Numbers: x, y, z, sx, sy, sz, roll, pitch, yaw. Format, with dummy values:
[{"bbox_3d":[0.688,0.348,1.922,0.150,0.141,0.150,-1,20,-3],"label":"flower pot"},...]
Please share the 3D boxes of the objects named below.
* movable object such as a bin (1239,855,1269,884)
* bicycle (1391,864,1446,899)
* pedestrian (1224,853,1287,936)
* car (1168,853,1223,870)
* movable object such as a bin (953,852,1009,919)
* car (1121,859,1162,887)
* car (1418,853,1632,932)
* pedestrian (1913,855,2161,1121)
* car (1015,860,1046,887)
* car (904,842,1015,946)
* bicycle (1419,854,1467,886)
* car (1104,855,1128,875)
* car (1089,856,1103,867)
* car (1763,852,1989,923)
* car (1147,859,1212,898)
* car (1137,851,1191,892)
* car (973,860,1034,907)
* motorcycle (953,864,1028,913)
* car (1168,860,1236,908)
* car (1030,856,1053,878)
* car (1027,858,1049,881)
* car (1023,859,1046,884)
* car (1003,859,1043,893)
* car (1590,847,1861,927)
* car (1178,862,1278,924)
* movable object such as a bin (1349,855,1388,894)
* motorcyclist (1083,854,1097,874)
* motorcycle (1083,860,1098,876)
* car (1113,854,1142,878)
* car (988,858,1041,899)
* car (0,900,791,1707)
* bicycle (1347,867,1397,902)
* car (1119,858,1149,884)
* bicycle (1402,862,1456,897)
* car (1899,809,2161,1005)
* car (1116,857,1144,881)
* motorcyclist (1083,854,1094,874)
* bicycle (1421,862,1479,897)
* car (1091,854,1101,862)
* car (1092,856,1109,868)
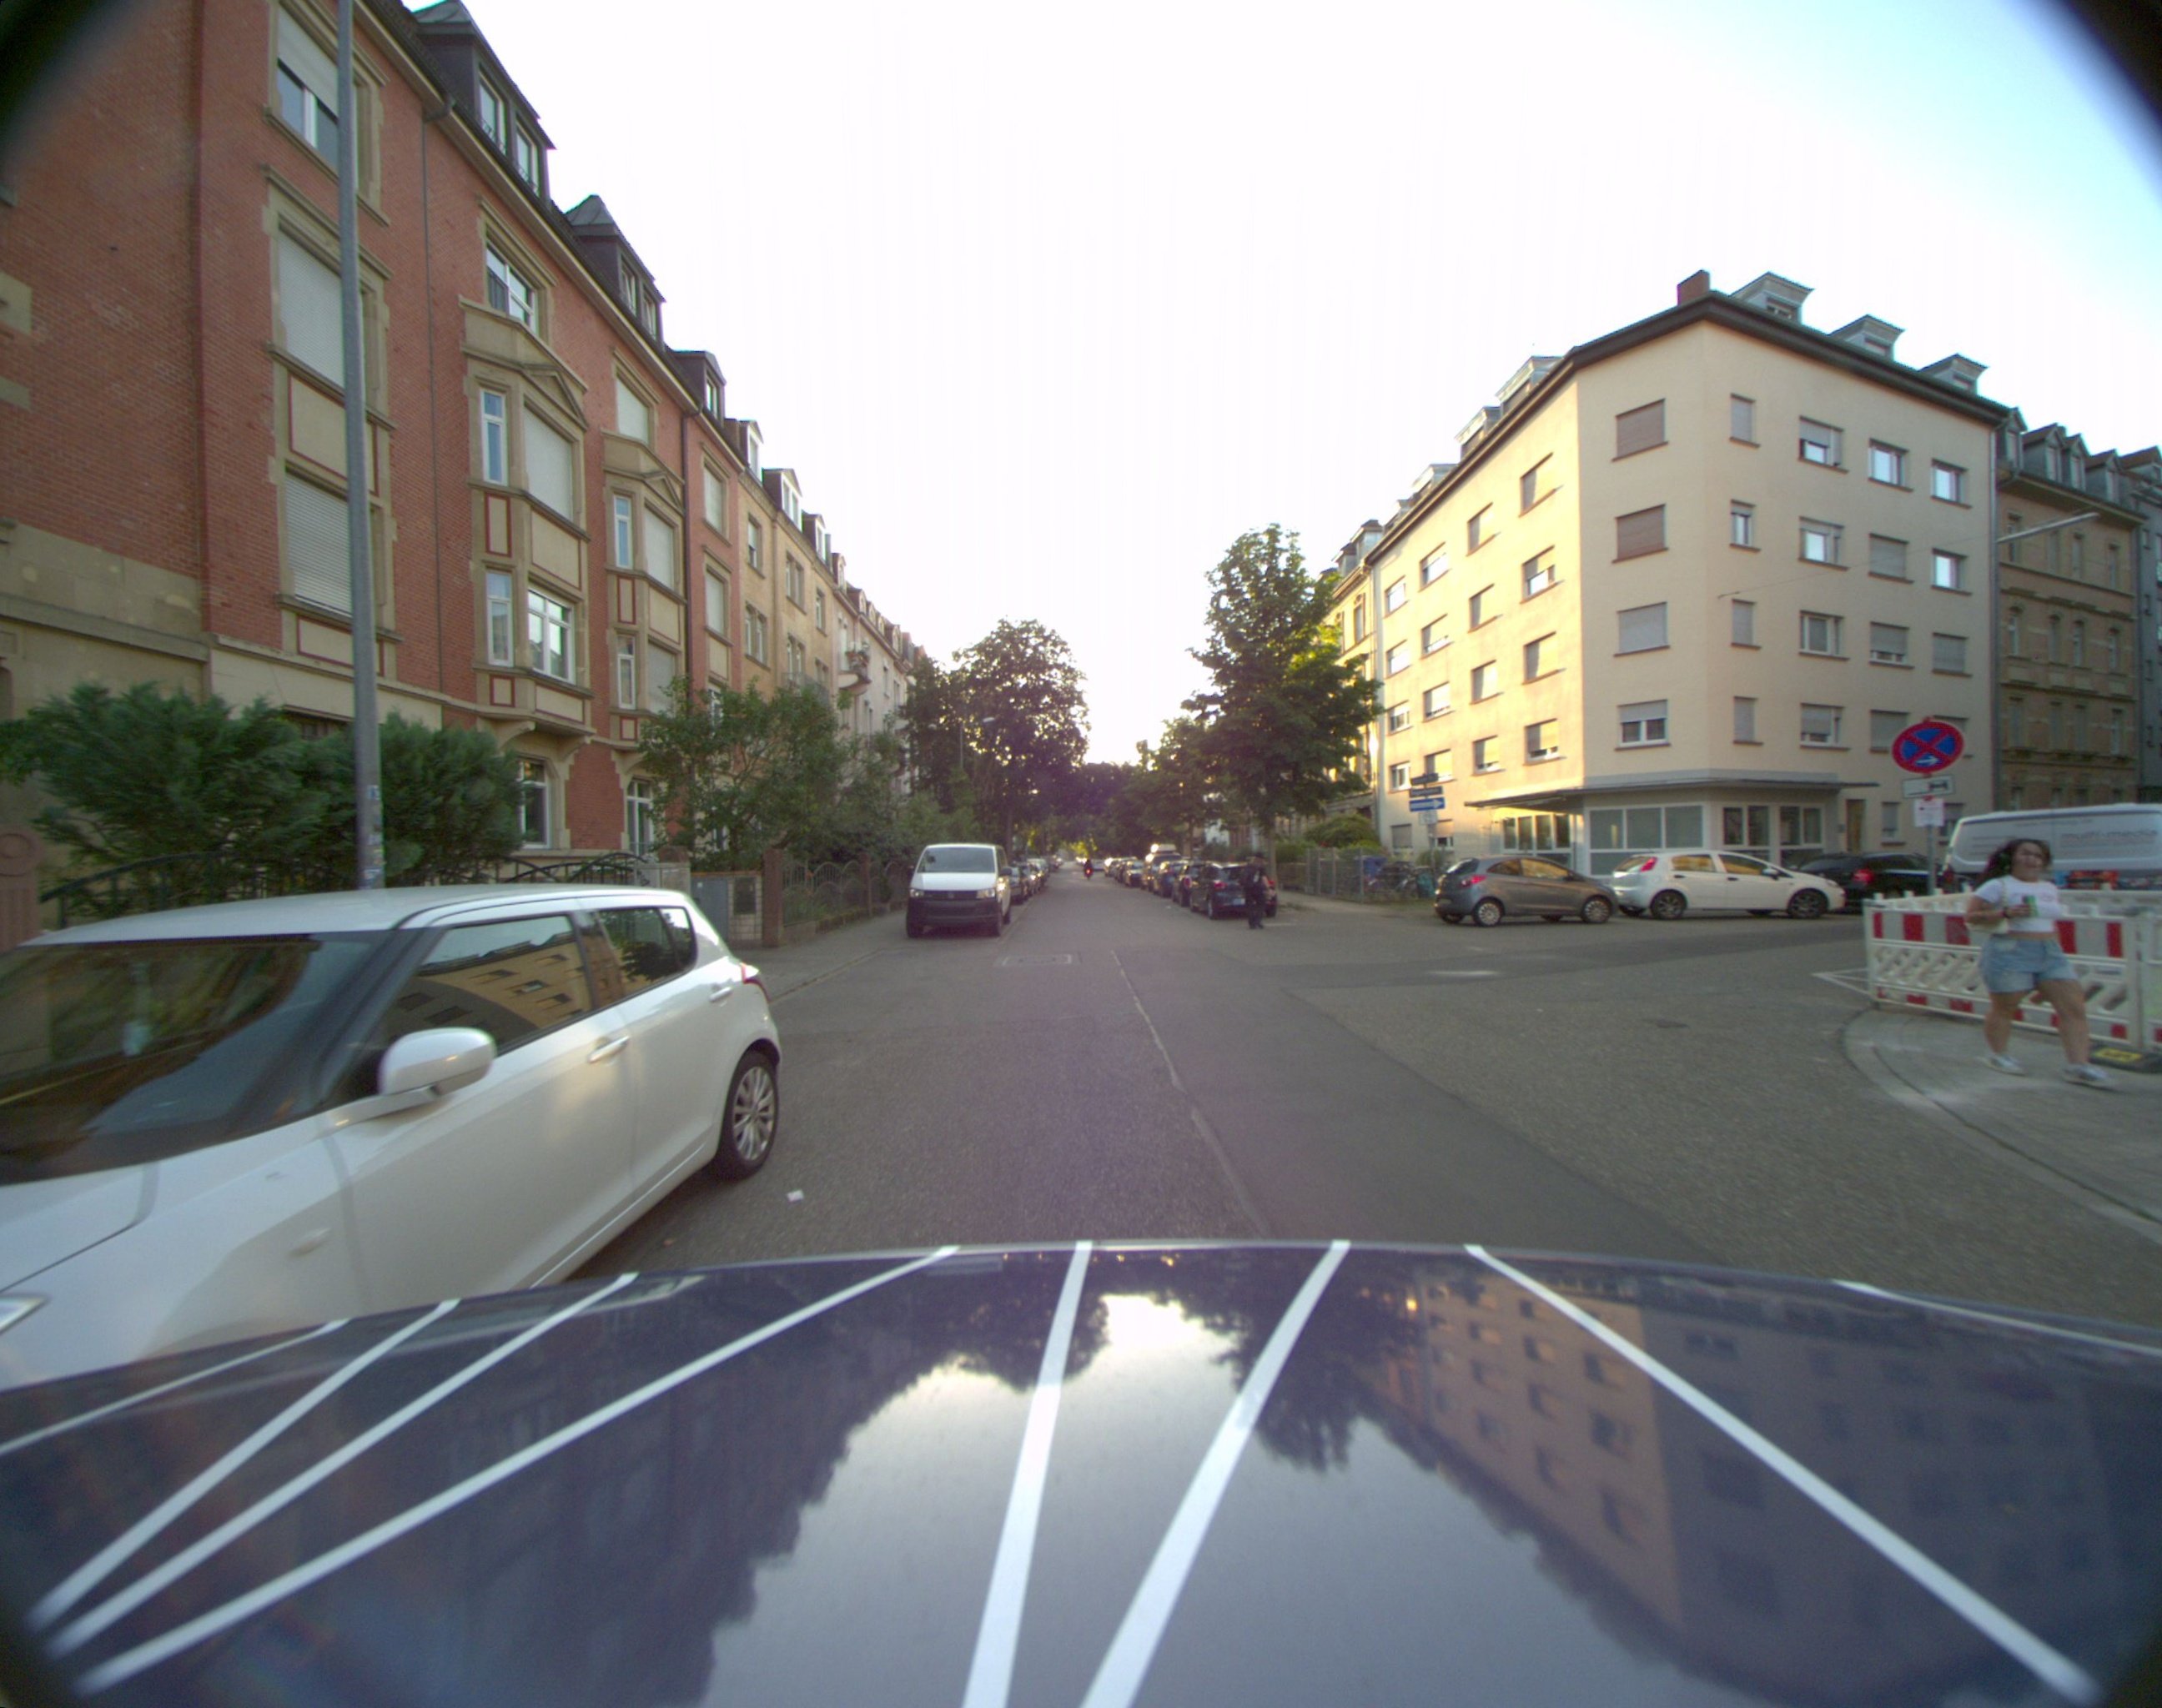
[{"bbox_3d":[8.594,0.768,37.780,0.948,1.379,1.551,-3,0,-4],"label":"movable object such as a bin"},{"bbox_3d":[11.029,0.886,24.861,0.502,1.086,1.545,-3,1,-38],"label":"bicycle"},{"bbox_3d":[3.810,0.865,16.603,0.960,1.712,0.889,-3,1,-40],"label":"pedestrian"},{"bbox_3d":[9.891,0.660,65.825,4.413,1.333,1.625,-2,0,0],"label":"car"},{"bbox_3d":[-2.922,0.893,22.575,1.416,1.867,2.324,1,0,-2],"label":"movable object such as a bin"},{"bbox_3d":[3.315,1.015,42.409,1.733,1.433,4.023,-2,0,-3],"label":"car"},{"bbox_3d":[9.427,0.798,16.347,3.516,1.499,1.845,-2,-1,-2],"label":"car"},{"bbox_3d":[6.351,0.831,5.063,0.711,1.609,0.787,-3,1,3],"label":"pedestrian"},{"bbox_3d":[-3.037,1.139,46.262,1.737,1.498,4.163,-2,0,-3],"label":"car"},{"bbox_3d":[-2.614,0.790,17.636,1.866,2.027,5.543,0,0,-2],"label":"car"},{"bbox_3d":[13.264,0.586,27.844,1.548,1.086,0.500,-3,1,-7],"label":"bicycle"},{"bbox_3d":[3.142,0.968,68.182,1.678,1.627,3.939,-2,0,-4],"label":"car"},{"bbox_3d":[2.138,1.051,107.483,1.841,1.484,3.641,-2,0,-1],"label":"car"},{"bbox_3d":[18.310,0.713,17.546,4.082,1.430,1.996,-1,0,-18],"label":"car"},{"bbox_3d":[3.954,0.952,31.169,1.866,1.404,4.589,-2,0,-2],"label":"car"},{"bbox_3d":[3.848,0.757,36.173,1.866,1.769,4.622,-2,0,-2],"label":"car"},{"bbox_3d":[-2.836,1.054,28.648,1.724,1.542,4.325,-2,0,1],"label":"car"},{"bbox_3d":[-2.914,1.080,24.537,2.099,1.474,1.130,0,1,-34],"label":"motorcycle"},{"bbox_3d":[4.044,0.972,26.015,1.746,1.412,4.142,-2,0,1],"label":"car"},{"bbox_3d":[-3.213,1.025,61.501,1.737,1.692,4.167,-2,0,-3],"label":"car"},{"bbox_3d":[-3.153,1.117,55.877,1.502,1.538,3.338,-2,0,-3],"label":"car"},{"bbox_3d":[-3.122,1.154,51.479,1.479,1.498,3.928,-2,0,-3],"label":"car"},{"bbox_3d":[-2.880,1.076,38.401,1.590,1.516,3.602,-3,0,1],"label":"car"},{"bbox_3d":[13.944,0.695,16.727,4.066,1.500,1.975,-3,0,11],"label":"car"},{"bbox_3d":[3.967,0.990,21.187,1.679,1.453,4.462,-2,0,-3],"label":"car"},{"bbox_3d":[10.465,0.743,27.689,0.868,1.344,1.398,-3,0,1],"label":"movable object such as a bin"},{"bbox_3d":[0.698,0.800,59.443,0.891,1.496,0.970,2,1,9],"label":"motorcyclist"},{"bbox_3d":[0.719,1.086,59.255,0.848,1.202,2.076,2,1,9],"label":"motorcycle"},{"bbox_3d":[3.450,0.871,56.627,1.866,1.653,4.021,-2,0,0],"label":"car"},{"bbox_3d":[-2.899,1.043,33.902,1.761,1.573,4.842,-3,0,1],"label":"car"},{"bbox_3d":[-2.495,1.018,2.206,1.678,1.468,3.862,-2,0,2],"label":"car"},{"bbox_3d":[9.501,0.982,24.882,0.689,1.019,1.931,-3,0,-7],"label":"bicycle"},{"bbox_3d":[3.271,1.035,47.125,1.441,1.485,3.297,-2,0,-3],"label":"car"},{"bbox_3d":[11.485,0.845,25.120,0.502,1.086,1.545,-3,1,-39],"label":"bicycle"},{"bbox_3d":[12.922,0.501,9.392,5.301,1.963,2.204,-1,0,-24],"label":"car"},{"bbox_3d":[3.301,1.006,51.584,1.682,1.489,3.625,-2,0,1],"label":"car"},{"bbox_3d":[0.593,0.784,58.666,0.789,1.531,0.546,2,1,9],"label":"motorcyclist"},{"bbox_3d":[12.136,0.832,25.021,0.386,1.086,1.707,-3,1,-37],"label":"bicycle"},{"bbox_3d":[2.992,0.764,151.842,1.841,1.484,3.641,-2,0,-1],"label":"car"},{"bbox_3d":[2.580,1.090,101.771,1.953,1.484,3.737,-2,0,-1],"label":"car"}]
